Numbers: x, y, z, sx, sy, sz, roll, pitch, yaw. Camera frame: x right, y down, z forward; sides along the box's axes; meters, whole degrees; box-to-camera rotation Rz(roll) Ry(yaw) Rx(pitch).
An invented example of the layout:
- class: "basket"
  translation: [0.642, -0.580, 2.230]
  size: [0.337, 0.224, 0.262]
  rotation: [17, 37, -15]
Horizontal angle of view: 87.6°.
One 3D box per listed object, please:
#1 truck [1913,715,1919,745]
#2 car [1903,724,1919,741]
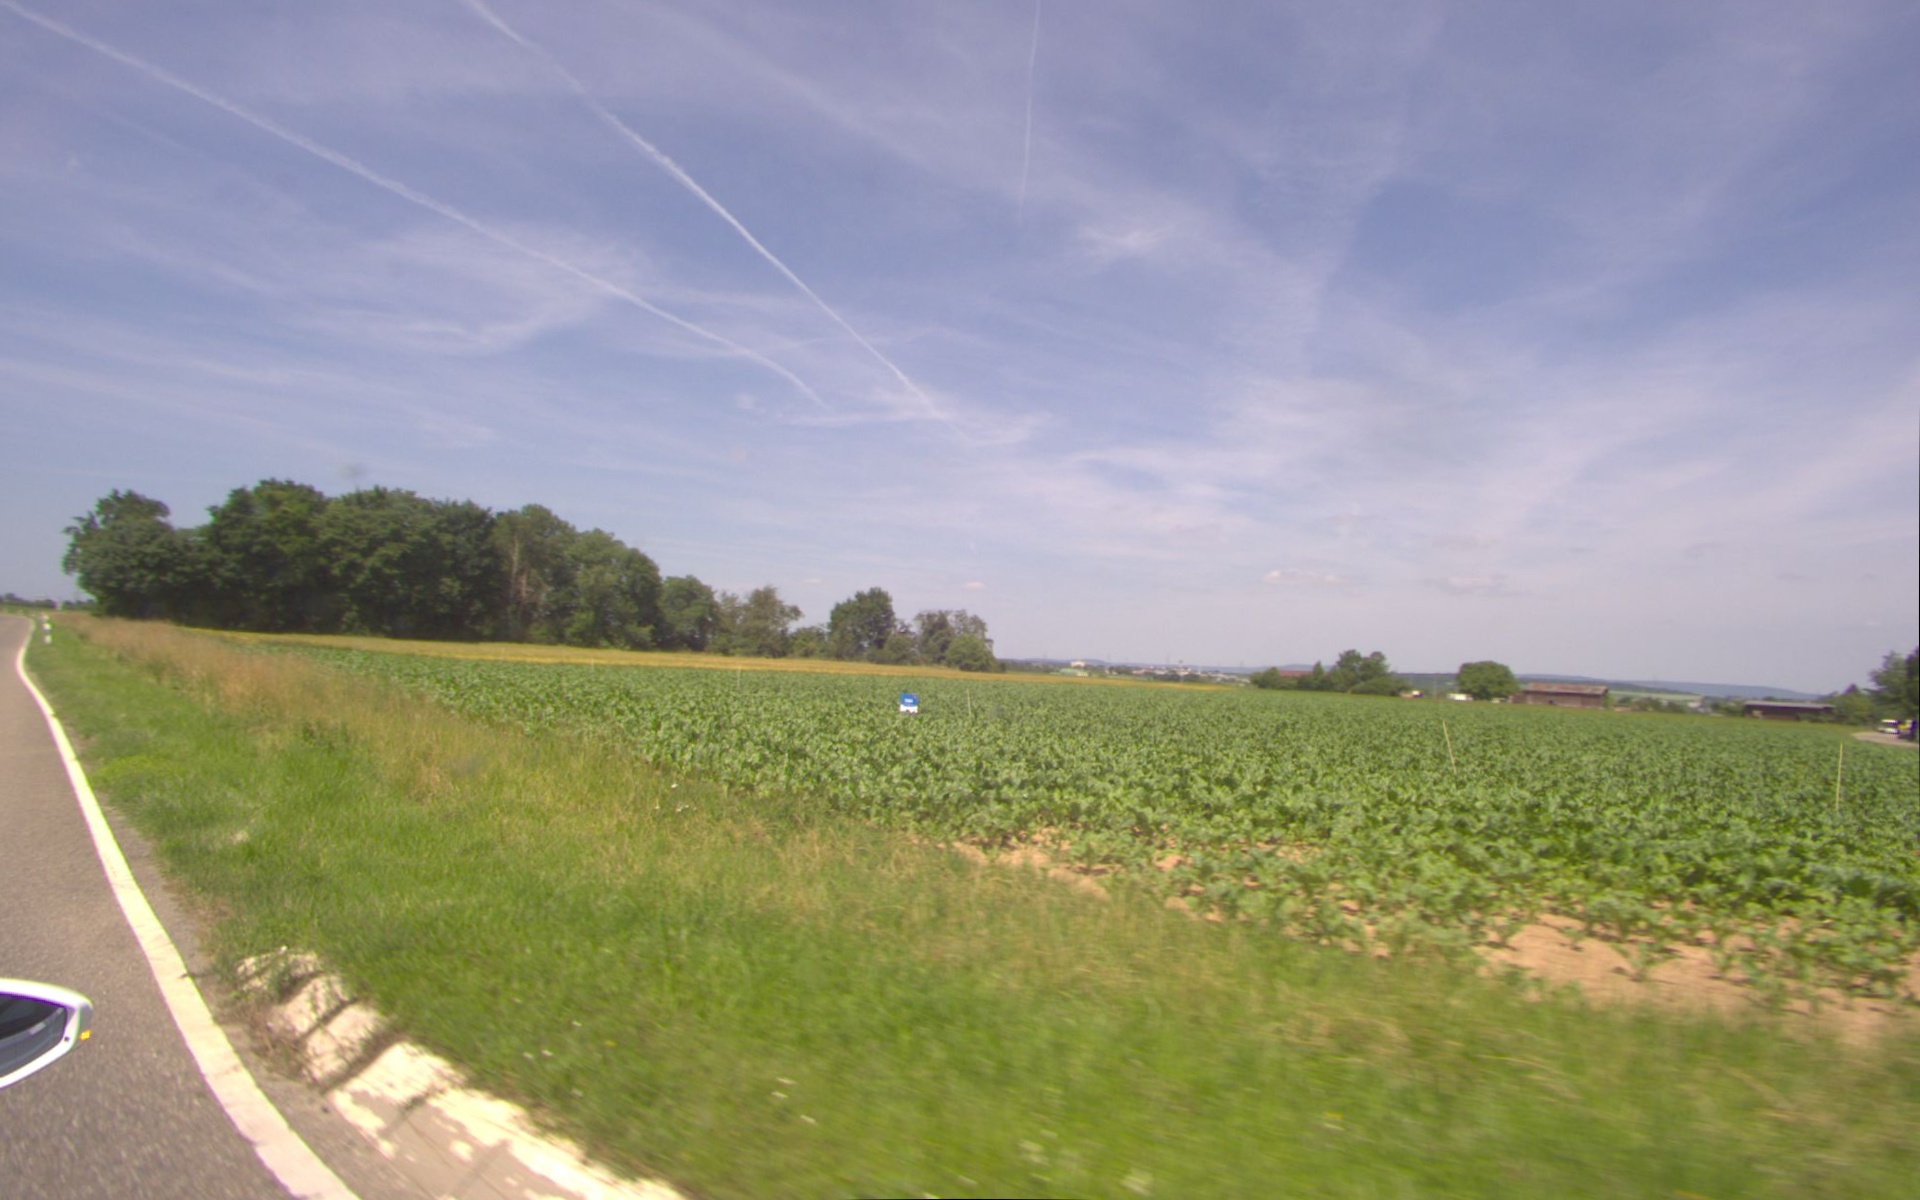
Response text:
- class: "truck"
  translation: [93.731, 12.610, 96.207]
  size: [2.077, 2.922, 6.747]
  rotation: [1, -5, 35]
- class: "car"
  translation: [103.875, 14.408, 108.894]
  size: [1.399, 1.681, 3.221]
  rotation: [1, -5, 35]
